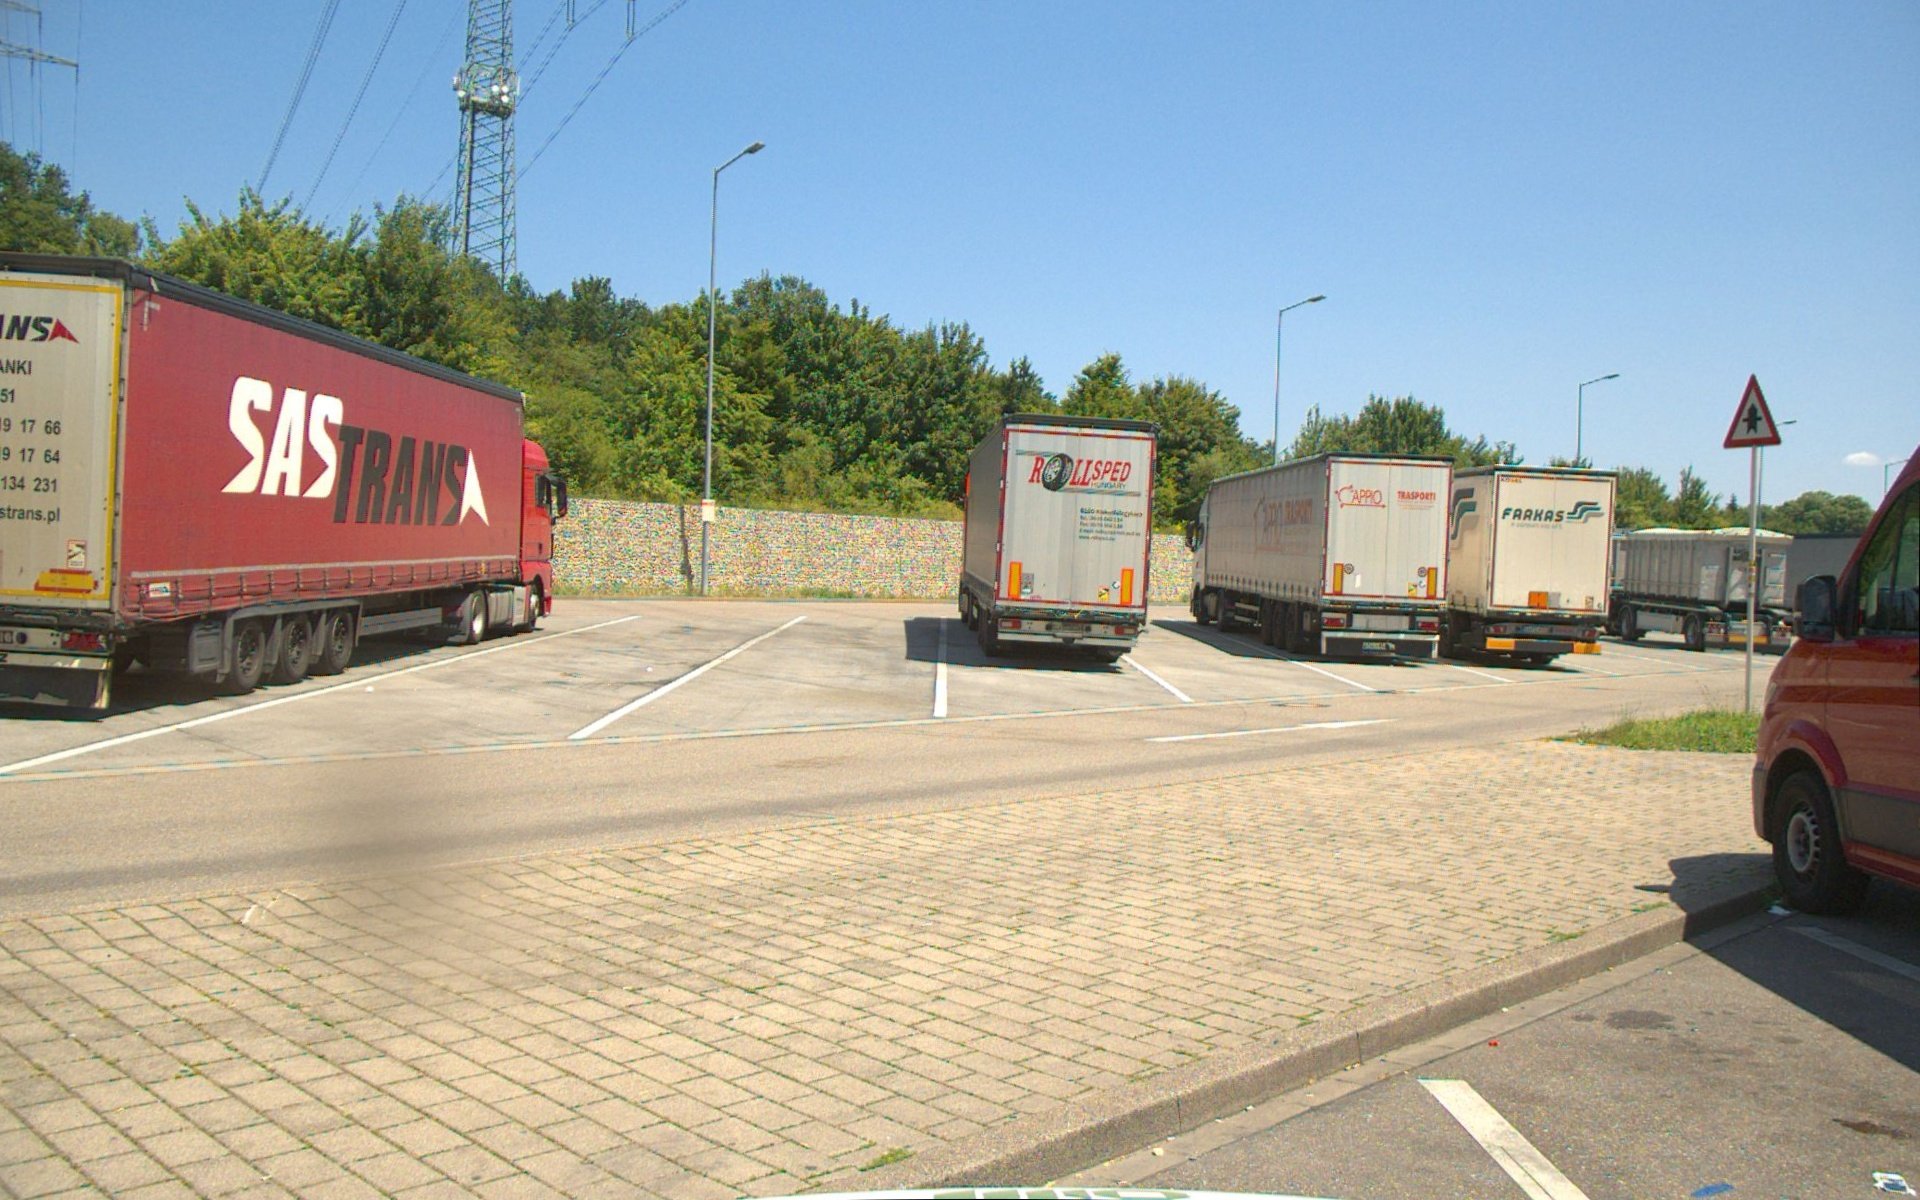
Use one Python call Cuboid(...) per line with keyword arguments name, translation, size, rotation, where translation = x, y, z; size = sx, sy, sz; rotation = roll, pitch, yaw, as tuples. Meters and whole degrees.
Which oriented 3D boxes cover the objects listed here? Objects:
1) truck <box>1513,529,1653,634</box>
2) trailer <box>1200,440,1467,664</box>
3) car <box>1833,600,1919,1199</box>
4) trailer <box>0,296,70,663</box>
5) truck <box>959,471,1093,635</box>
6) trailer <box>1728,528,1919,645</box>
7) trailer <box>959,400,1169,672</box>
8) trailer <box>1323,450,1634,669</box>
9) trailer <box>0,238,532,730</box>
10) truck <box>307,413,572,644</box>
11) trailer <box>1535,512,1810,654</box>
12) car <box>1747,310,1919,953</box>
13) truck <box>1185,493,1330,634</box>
Cuboid(name="truck", translation=(22.009, -0.704, 58.715), size=(2.794, 3.423, 5.484), rotation=(3, 2, 0))
Cuboid(name="trailer", translation=(8.214, -1.131, 38.830), size=(2.781, 4.204, 13.722), rotation=(2, 2, -1))
Cuboid(name="car", translation=(2.606, 0.804, 1.157), size=(1.703, 1.508, 3.813), rotation=(1, 1, -6))
Cuboid(name="trailer", translation=(-12.518, -1.307, 15.703), size=(2.673, 4.282, 10.170), rotation=(2, 2, -1))
Cuboid(name="truck", translation=(1.485, -1.138, 39.849), size=(2.794, 3.544, 5.482), rotation=(2, 2, -1))
Cuboid(name="trailer", translation=(34.940, -0.630, 65.416), size=(2.780, 4.119, 13.726), rotation=(3, 2, 1))
Cuboid(name="trailer", translation=(1.654, -1.226, 33.240), size=(2.848, 4.204, 13.720), rotation=(2, 2, -2))
Cuboid(name="trailer", translation=(11.773, -1.009, 39.635), size=(2.781, 4.204, 13.722), rotation=(2, 2, -1))
Cuboid(name="trailer", translation=(-8.674, -1.294, 21.186), size=(2.848, 4.203, 13.723), rotation=(2, 2, -1))
Cuboid(name="truck", translation=(-8.788, -1.204, 28.622), size=(2.794, 3.487, 5.482), rotation=(2, 2, -1))
Cuboid(name="trailer", translation=(21.929, -0.674, 52.211), size=(2.780, 3.781, 13.726), rotation=(3, 2, 1))
Cuboid(name="car", translation=(5.017, 0.170, 5.561), size=(2.023, 2.742, 6.397), rotation=(1, 1, 4))
Cuboid(name="truck", translation=(8.099, -1.031, 45.639), size=(2.794, 3.544, 5.482), rotation=(2, 2, -1))
